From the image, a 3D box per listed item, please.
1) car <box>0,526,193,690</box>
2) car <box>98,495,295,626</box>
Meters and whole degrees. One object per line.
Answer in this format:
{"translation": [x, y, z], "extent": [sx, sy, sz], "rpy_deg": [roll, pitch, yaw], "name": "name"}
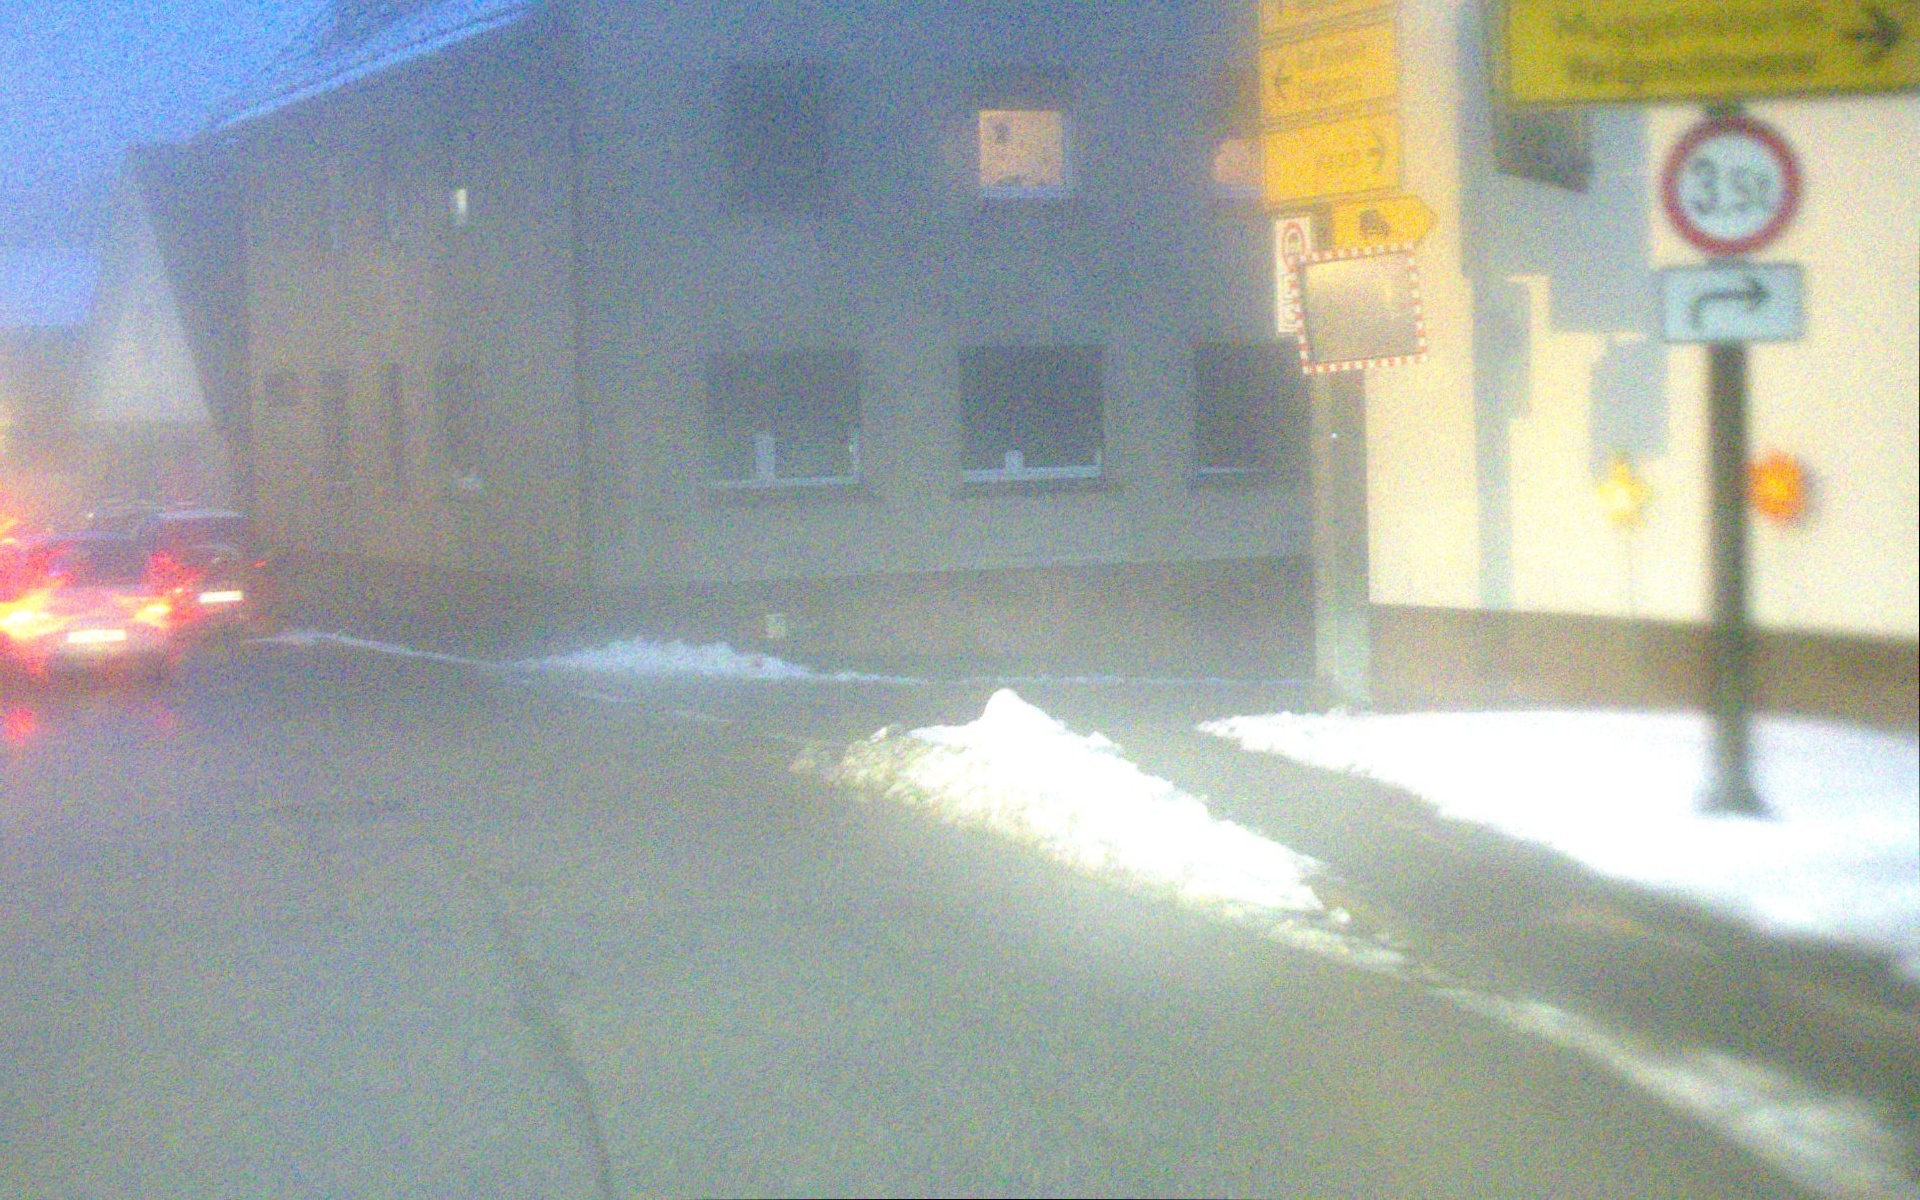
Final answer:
{"translation": [-8.778, 0.070, 33.589], "extent": [1.993, 1.503, 4.001], "rpy_deg": [0, 0, -20], "name": "car"}
{"translation": [-9.288, -0.460, 41.607], "extent": [1.716, 1.494, 3.908], "rpy_deg": [0, 0, -22], "name": "car"}
